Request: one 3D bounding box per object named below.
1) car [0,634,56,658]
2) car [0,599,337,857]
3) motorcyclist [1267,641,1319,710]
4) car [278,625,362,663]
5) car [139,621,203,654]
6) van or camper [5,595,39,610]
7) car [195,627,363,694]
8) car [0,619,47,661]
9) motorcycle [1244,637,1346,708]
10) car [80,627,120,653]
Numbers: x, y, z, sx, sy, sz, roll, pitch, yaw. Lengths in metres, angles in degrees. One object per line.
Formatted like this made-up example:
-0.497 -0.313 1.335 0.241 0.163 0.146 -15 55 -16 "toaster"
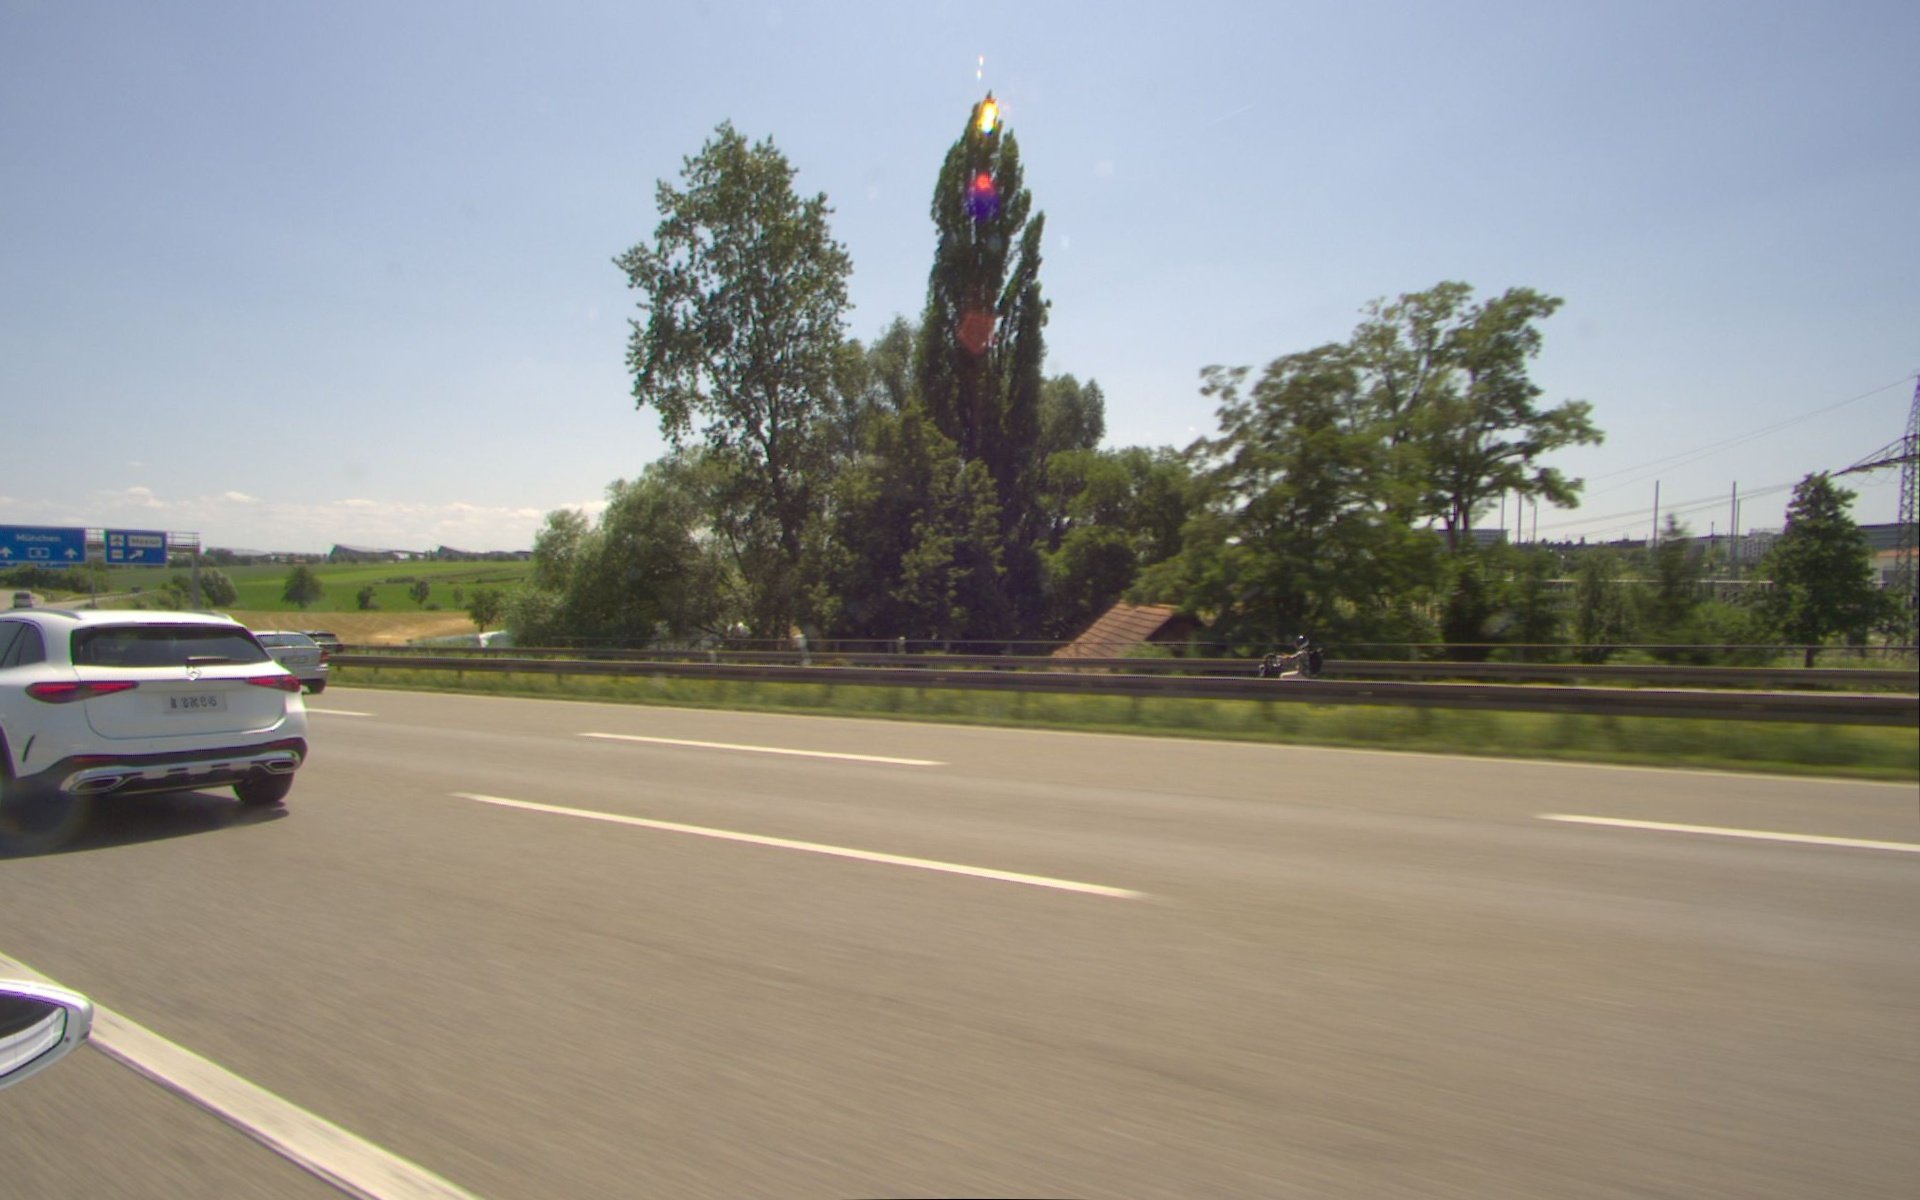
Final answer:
-64.678 3.177 69.359 3.941 1.616 1.991 -1 -1 30 "car"
-7.629 0.893 8.604 4.926 1.668 1.895 -1 -1 32 "car"
6.837 1.535 20.570 0.866 1.384 0.667 -1 -1 33 "motorcyclist"
-28.220 1.915 44.137 4.072 1.595 1.695 -1 -1 35 "car"
-48.010 2.274 60.899 4.123 1.948 1.934 -1 -1 34 "car"
-139.027 0.419 148.384 4.393 2.039 2.527 -1 -1 29 "van or camper"
-16.399 1.389 24.021 4.782 1.456 1.781 -1 -2 35 "car"
-40.206 1.648 41.754 3.939 1.712 1.992 -1 -1 29 "car"
6.867 1.459 20.561 1.843 1.384 0.758 -1 -1 33 "motorcycle"
-67.972 3.148 79.130 4.134 1.948 1.929 -2 -2 43 "car"
